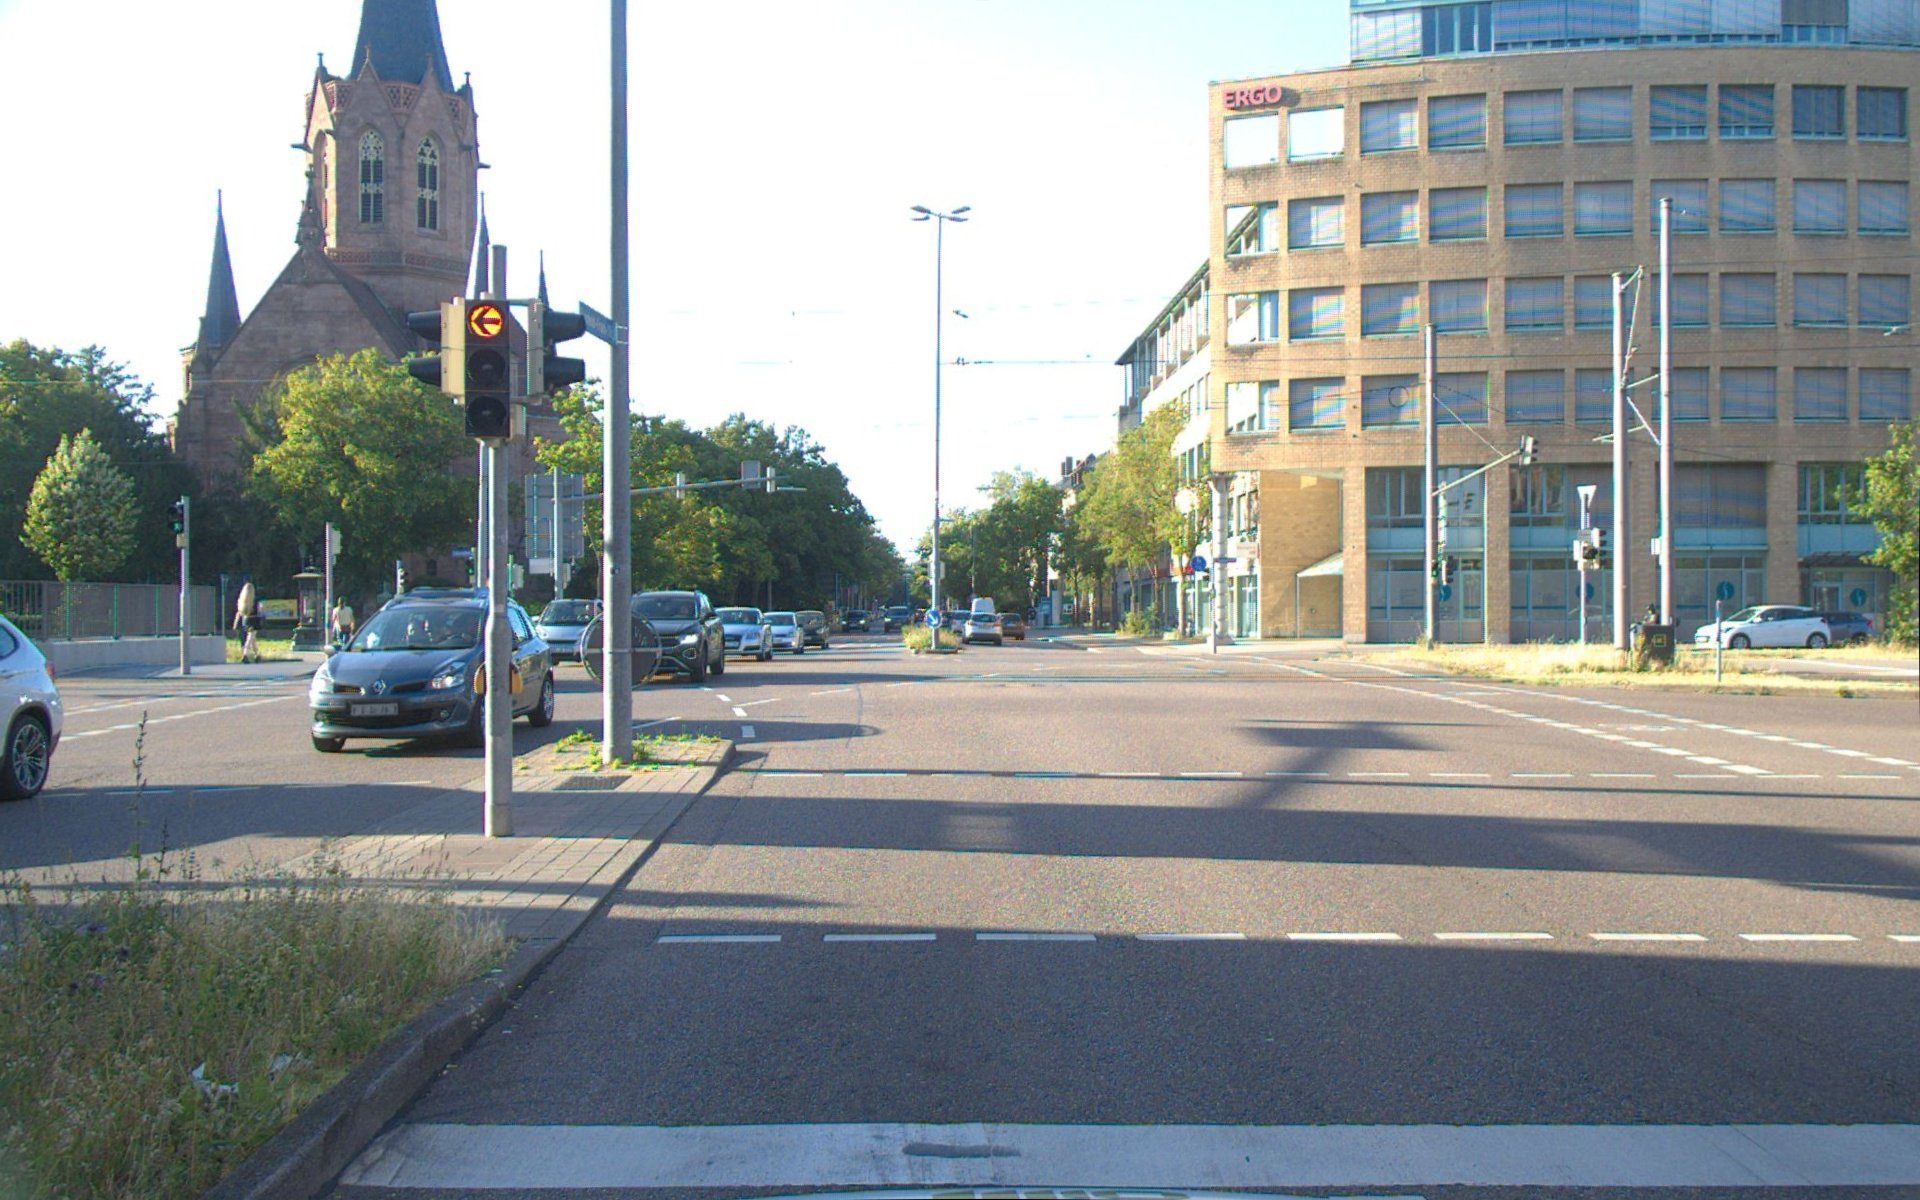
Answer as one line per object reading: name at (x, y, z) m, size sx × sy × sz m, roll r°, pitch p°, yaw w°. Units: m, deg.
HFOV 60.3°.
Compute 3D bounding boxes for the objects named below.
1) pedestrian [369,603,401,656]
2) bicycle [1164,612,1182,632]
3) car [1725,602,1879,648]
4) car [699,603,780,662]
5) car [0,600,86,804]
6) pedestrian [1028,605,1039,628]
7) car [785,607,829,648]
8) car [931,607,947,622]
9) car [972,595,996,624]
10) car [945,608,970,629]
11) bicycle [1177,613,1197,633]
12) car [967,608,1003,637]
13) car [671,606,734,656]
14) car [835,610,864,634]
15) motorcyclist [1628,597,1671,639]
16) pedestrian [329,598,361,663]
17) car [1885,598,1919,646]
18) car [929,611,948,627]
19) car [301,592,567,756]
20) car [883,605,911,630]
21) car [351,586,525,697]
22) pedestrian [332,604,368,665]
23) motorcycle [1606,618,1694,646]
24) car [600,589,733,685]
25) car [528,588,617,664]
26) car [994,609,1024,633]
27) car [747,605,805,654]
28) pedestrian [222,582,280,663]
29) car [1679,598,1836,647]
pedestrian at (-19.017, 0.968, 54.716) m, size 0.826 × 1.726 × 1.014 m, roll 1°, pitch -1°, yaw -9°
bicycle at (11.041, 1.142, 85.820) m, size 0.633 × 1.012 × 2.080 m, roll 0°, pitch 0°, yaw -2°
car at (29.534, 0.859, 58.104) m, size 4.390 × 1.564 × 1.986 m, roll 0°, pitch -1°, yaw -1°
car at (-5.954, 0.847, 45.019) m, size 1.674 × 1.450 × 4.101 m, roll -2°, pitch 0°, yaw -1°
car at (-8.038, 0.797, 11.553) m, size 1.717 × 1.514 × 4.246 m, roll -1°, pitch 0°, yaw -2°
pedestrian at (5.861, 1.286, 131.686) m, size 0.830 × 1.835 × 0.775 m, roll 0°, pitch 0°, yaw -1°
car at (-6.270, 1.102, 68.021) m, size 1.546 × 1.571 × 3.476 m, roll -2°, pitch 0°, yaw -1°
car at (-1.985, 1.368, 156.470) m, size 1.562 × 1.289 × 3.266 m, roll 0°, pitch 0°, yaw -1°
car at (2.078, 0.808, 145.467) m, size 1.953 × 2.483 × 3.999 m, roll 1°, pitch 0°, yaw -1°
car at (-0.201, 1.174, 106.767) m, size 1.562 × 1.289 × 3.266 m, roll 0°, pitch 0°, yaw -1°
bicycle at (11.160, 1.122, 81.272) m, size 0.633 × 1.012 × 2.080 m, roll 0°, pitch 0°, yaw -2°
car at (1.150, 1.060, 77.591) m, size 1.562 × 1.289 × 3.266 m, roll 0°, pitch 0°, yaw -1°
car at (-8.862, 1.053, 57.144) m, size 1.641 × 1.571 × 3.637 m, roll -2°, pitch 0°, yaw -1°
car at (-8.166, 1.672, 122.864) m, size 1.953 × 1.754 × 4.591 m, roll -1°, pitch -1°, yaw -2°
motorcyclist at (24.169, 0.632, 57.968) m, size 1.044 × 1.460 × 1.031 m, roll 0°, pitch -1°, yaw -2°
pedestrian at (-16.619, 0.822, 44.699) m, size 0.696 × 1.726 × 0.892 m, roll 1°, pitch -1°, yaw -15°
car at (32.255, 0.697, 53.241) m, size 3.970 × 1.518 × 1.819 m, roll 0°, pitch -1°, yaw -2°
car at (-1.872, 1.642, 143.915) m, size 1.562 × 1.289 × 3.266 m, roll 0°, pitch 0°, yaw -1°
car at (-5.414, 0.686, 17.543) m, size 1.559 × 1.497 × 3.985 m, roll -1°, pitch 0°, yaw -1°
car at (-4.483, 1.275, 117.761) m, size 1.953 × 1.754 × 5.029 m, roll -1°, pitch -1°, yaw -2°
car at (-8.587, 0.628, 27.534) m, size 1.685 × 1.657 × 4.100 m, roll -2°, pitch 0°, yaw -2°
pedestrian at (-17.547, 0.985, 47.603) m, size 0.828 × 1.726 × 1.013 m, roll 1°, pitch -1°, yaw -15°
motorcycle at (24.157, 1.113, 57.960) m, size 2.663 × 0.981 × 1.031 m, roll 0°, pitch -1°, yaw -2°
car at (-5.244, 0.611, 30.027) m, size 1.641 × 1.571 × 4.102 m, roll -2°, pitch 0°, yaw 0°
car at (-8.808, 0.569, 37.803) m, size 1.505 × 1.620 × 2.806 m, roll -2°, pitch 0°, yaw -4°
car at (2.764, 1.171, 93.276) m, size 1.562 × 1.289 × 3.266 m, roll 0°, pitch 0°, yaw -1°
car at (-6.373, 1.001, 57.623) m, size 1.641 × 1.571 × 3.805 m, roll -2°, pitch 0°, yaw -1°
pedestrian at (-15.717, 0.504, 36.675) m, size 0.946 × 1.770 × 0.811 m, roll 0°, pitch -1°, yaw -3°
car at (25.495, 0.726, 52.966) m, size 4.080 × 1.518 × 1.994 m, roll 0°, pitch -1°, yaw -3°
